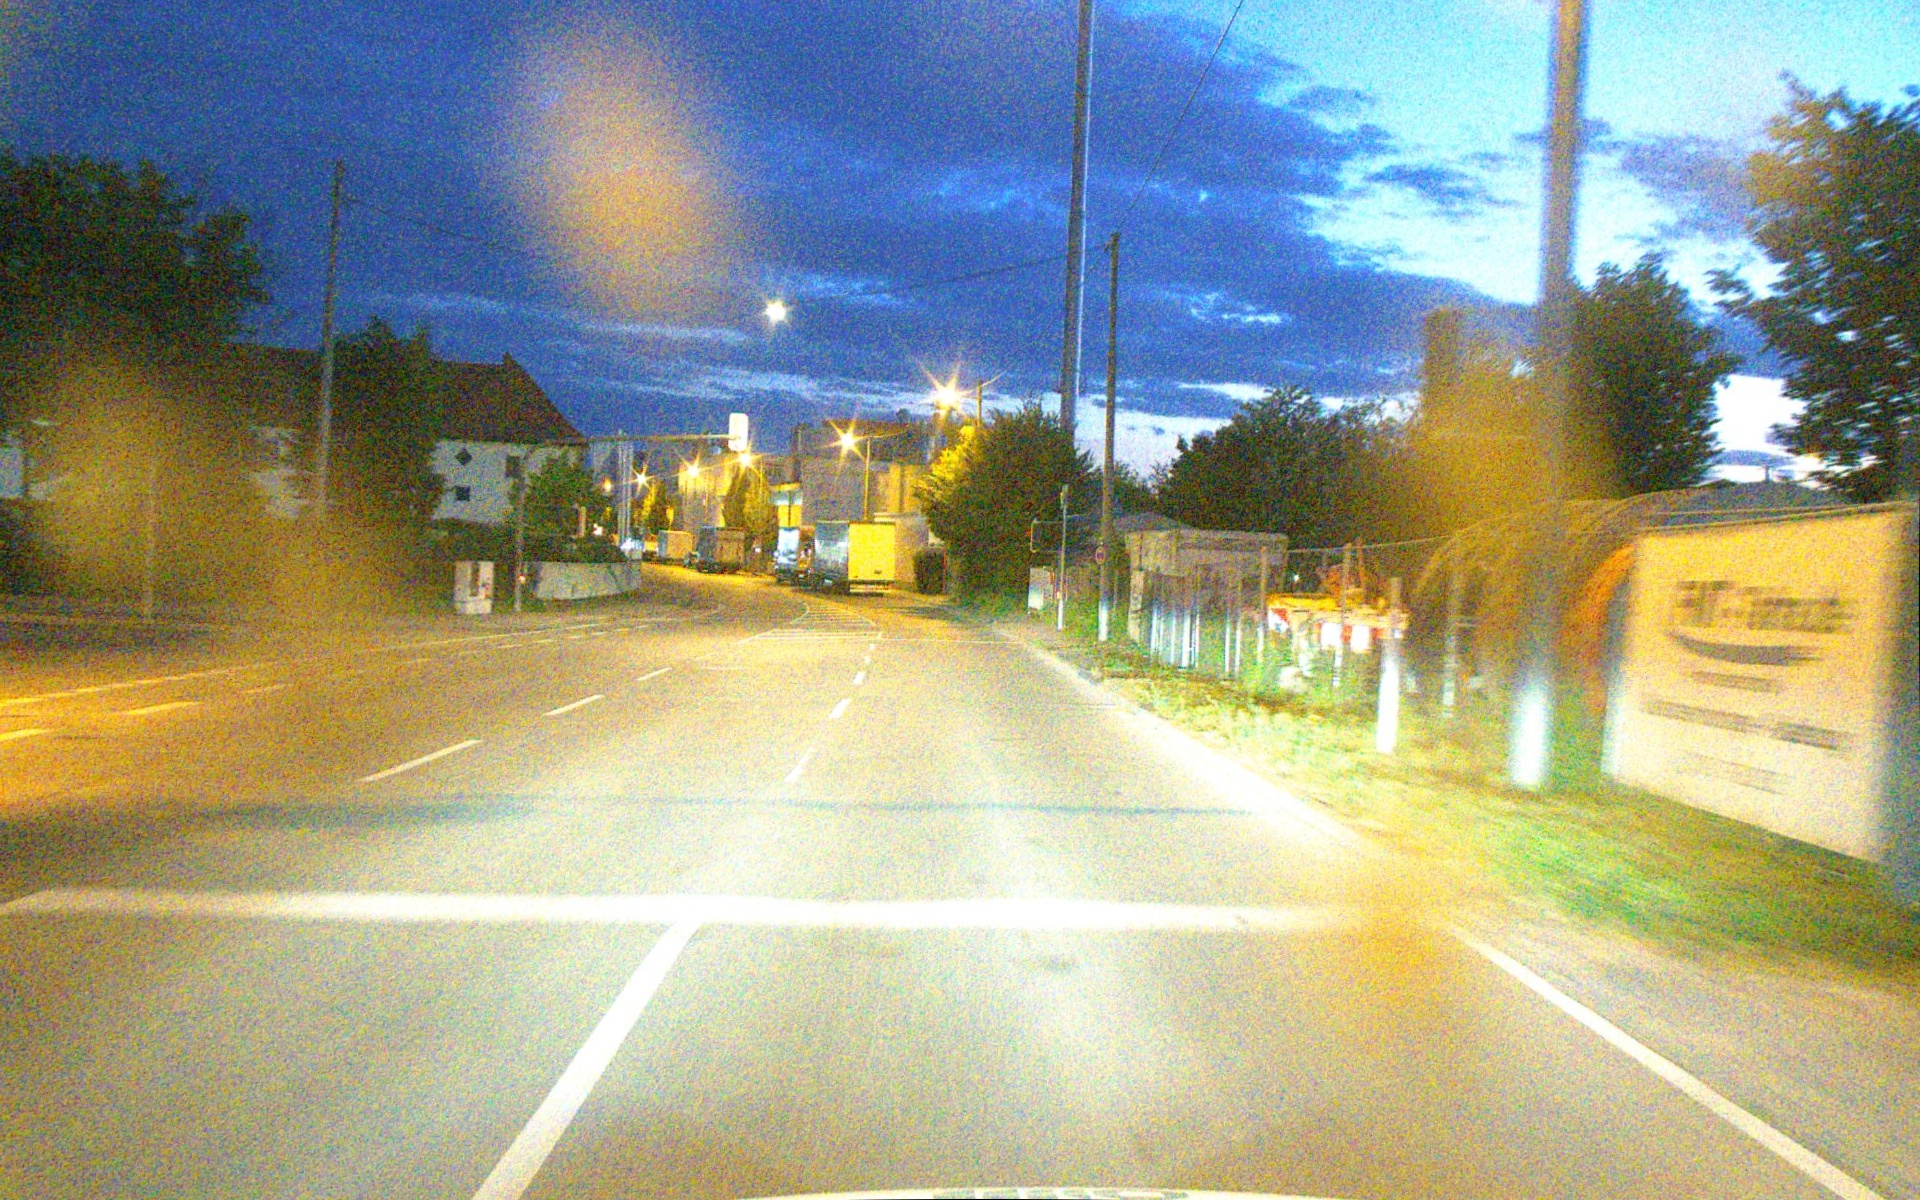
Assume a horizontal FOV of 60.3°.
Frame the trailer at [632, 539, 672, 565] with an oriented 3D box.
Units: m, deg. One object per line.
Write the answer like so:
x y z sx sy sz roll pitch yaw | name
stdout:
-34.788 -5.397 186.455 3.135 2.796 10.662 0 2 -18 | trailer

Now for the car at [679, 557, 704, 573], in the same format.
-25.752 -3.360 158.731 1.824 1.545 3.800 0 1 -18 | car

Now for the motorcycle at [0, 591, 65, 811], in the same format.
-6.283 0.621 9.543 0.978 1.327 2.822 2 0 -8 | motorcycle

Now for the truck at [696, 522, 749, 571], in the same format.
-20.784 -4.644 144.254 3.461 4.052 10.305 1 1 -14 | truck

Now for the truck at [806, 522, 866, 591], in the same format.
-7.686 -2.673 101.792 2.781 4.052 6.030 1 1 -13 | truck

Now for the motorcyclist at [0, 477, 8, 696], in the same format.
-6.260 0.217 9.462 1.113 1.933 0.832 2 0 -8 | motorcyclist

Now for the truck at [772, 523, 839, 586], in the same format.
-10.555 -3.073 112.107 2.783 4.052 10.301 1 1 -15 | truck

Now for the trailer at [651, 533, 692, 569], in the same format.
-29.861 -5.111 170.966 2.648 3.524 7.763 2 1 -20 | trailer

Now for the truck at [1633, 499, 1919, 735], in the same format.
12.080 0.208 23.493 2.138 2.796 7.318 3 1 2 | truck

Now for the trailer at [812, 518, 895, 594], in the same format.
-6.309 -2.543 95.367 2.759 4.052 13.933 1 1 -12 | trailer

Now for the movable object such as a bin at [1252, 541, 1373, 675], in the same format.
6.733 0.143 31.698 1.650 2.424 1.611 3 1 -13 | movable object such as a bin
